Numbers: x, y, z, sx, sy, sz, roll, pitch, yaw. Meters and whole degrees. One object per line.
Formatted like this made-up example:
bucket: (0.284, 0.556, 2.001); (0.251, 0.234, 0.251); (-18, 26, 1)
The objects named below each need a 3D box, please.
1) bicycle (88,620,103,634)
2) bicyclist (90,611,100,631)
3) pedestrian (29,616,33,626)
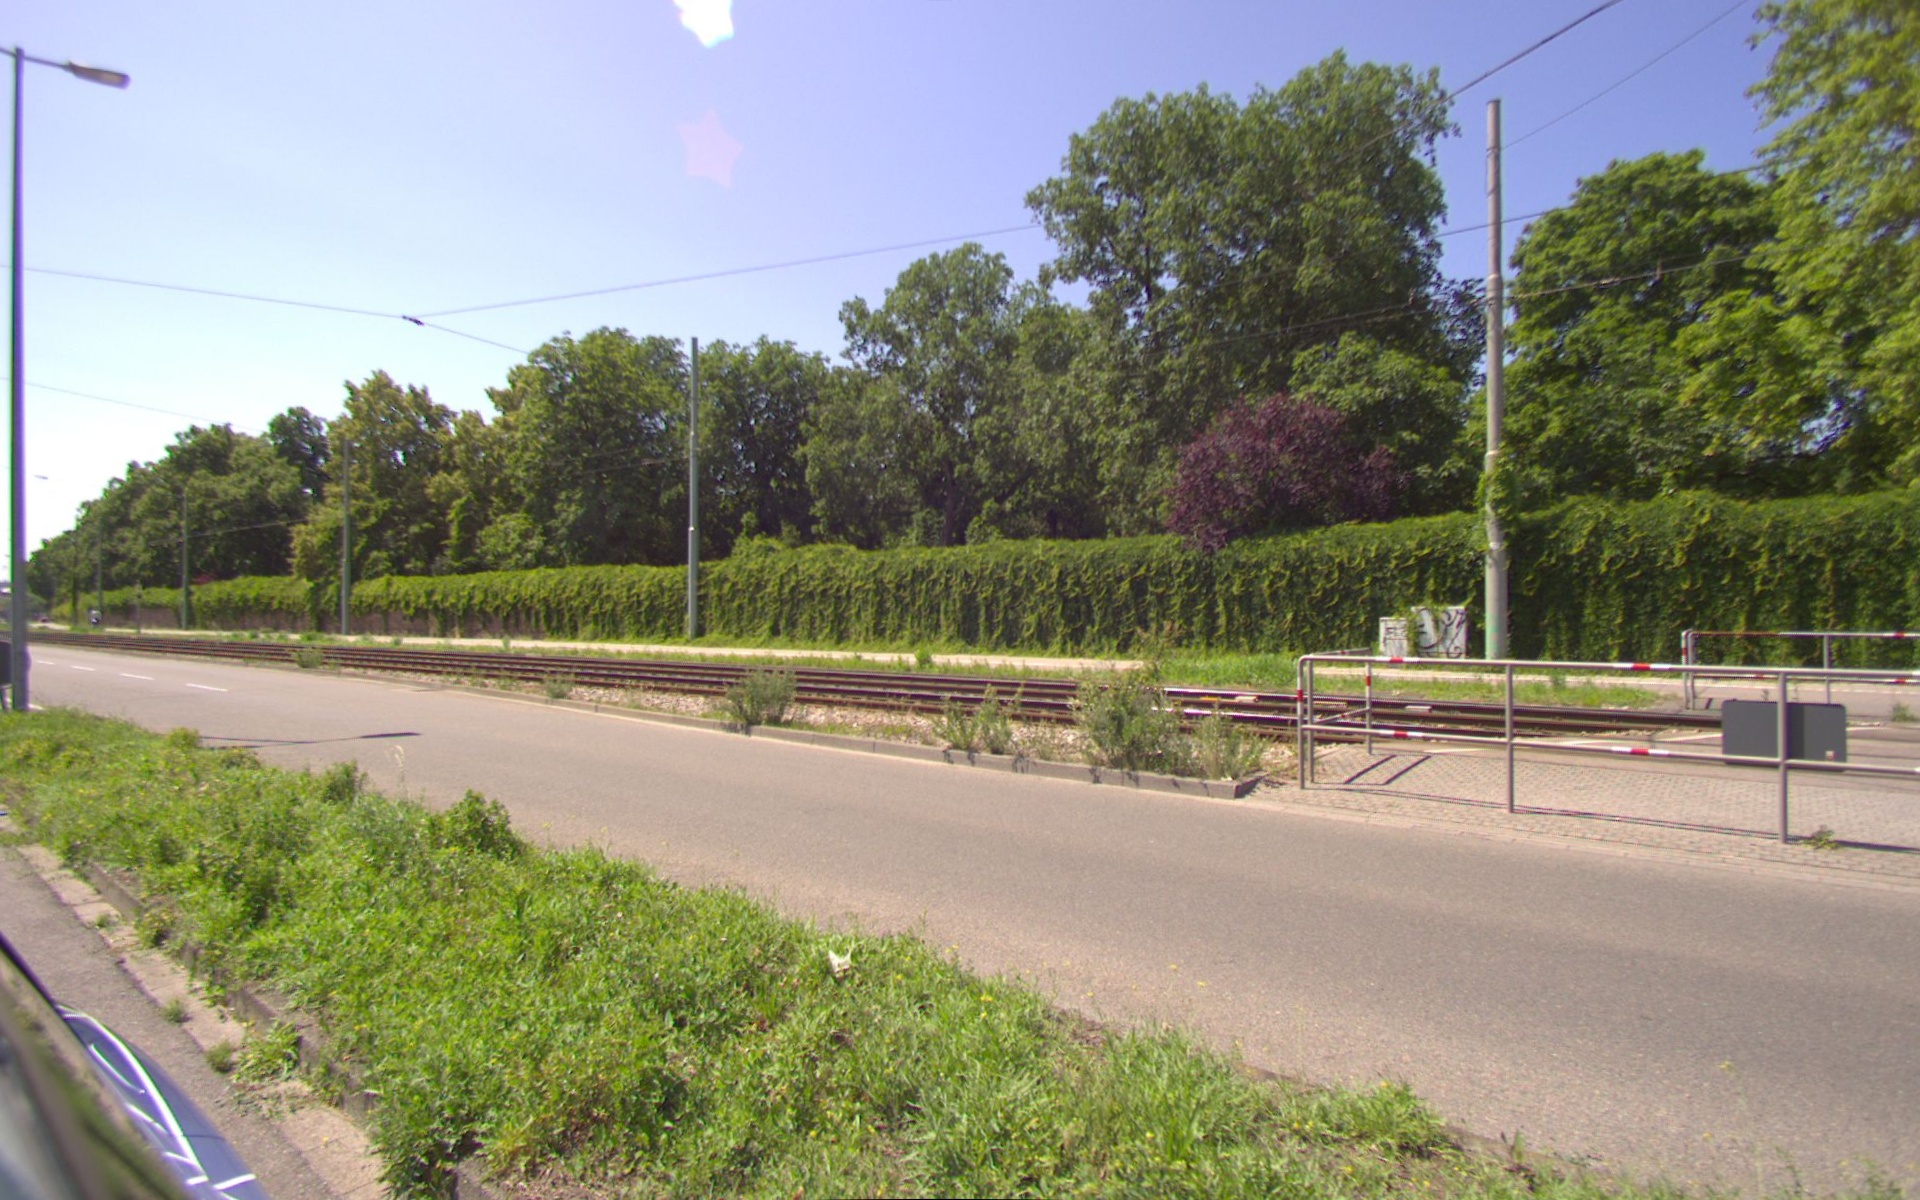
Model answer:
bicycle: (-70.953, 2.232, 83.034); (1.977, 1.063, 0.610); (-1, 1, 41)
bicyclist: (-70.914, 1.729, 82.976); (0.768, 1.624, 0.477); (-1, 1, 41)
pedestrian: (-154.483, 3.485, 168.321); (0.302, 1.677, 0.447); (-1, -1, 40)
